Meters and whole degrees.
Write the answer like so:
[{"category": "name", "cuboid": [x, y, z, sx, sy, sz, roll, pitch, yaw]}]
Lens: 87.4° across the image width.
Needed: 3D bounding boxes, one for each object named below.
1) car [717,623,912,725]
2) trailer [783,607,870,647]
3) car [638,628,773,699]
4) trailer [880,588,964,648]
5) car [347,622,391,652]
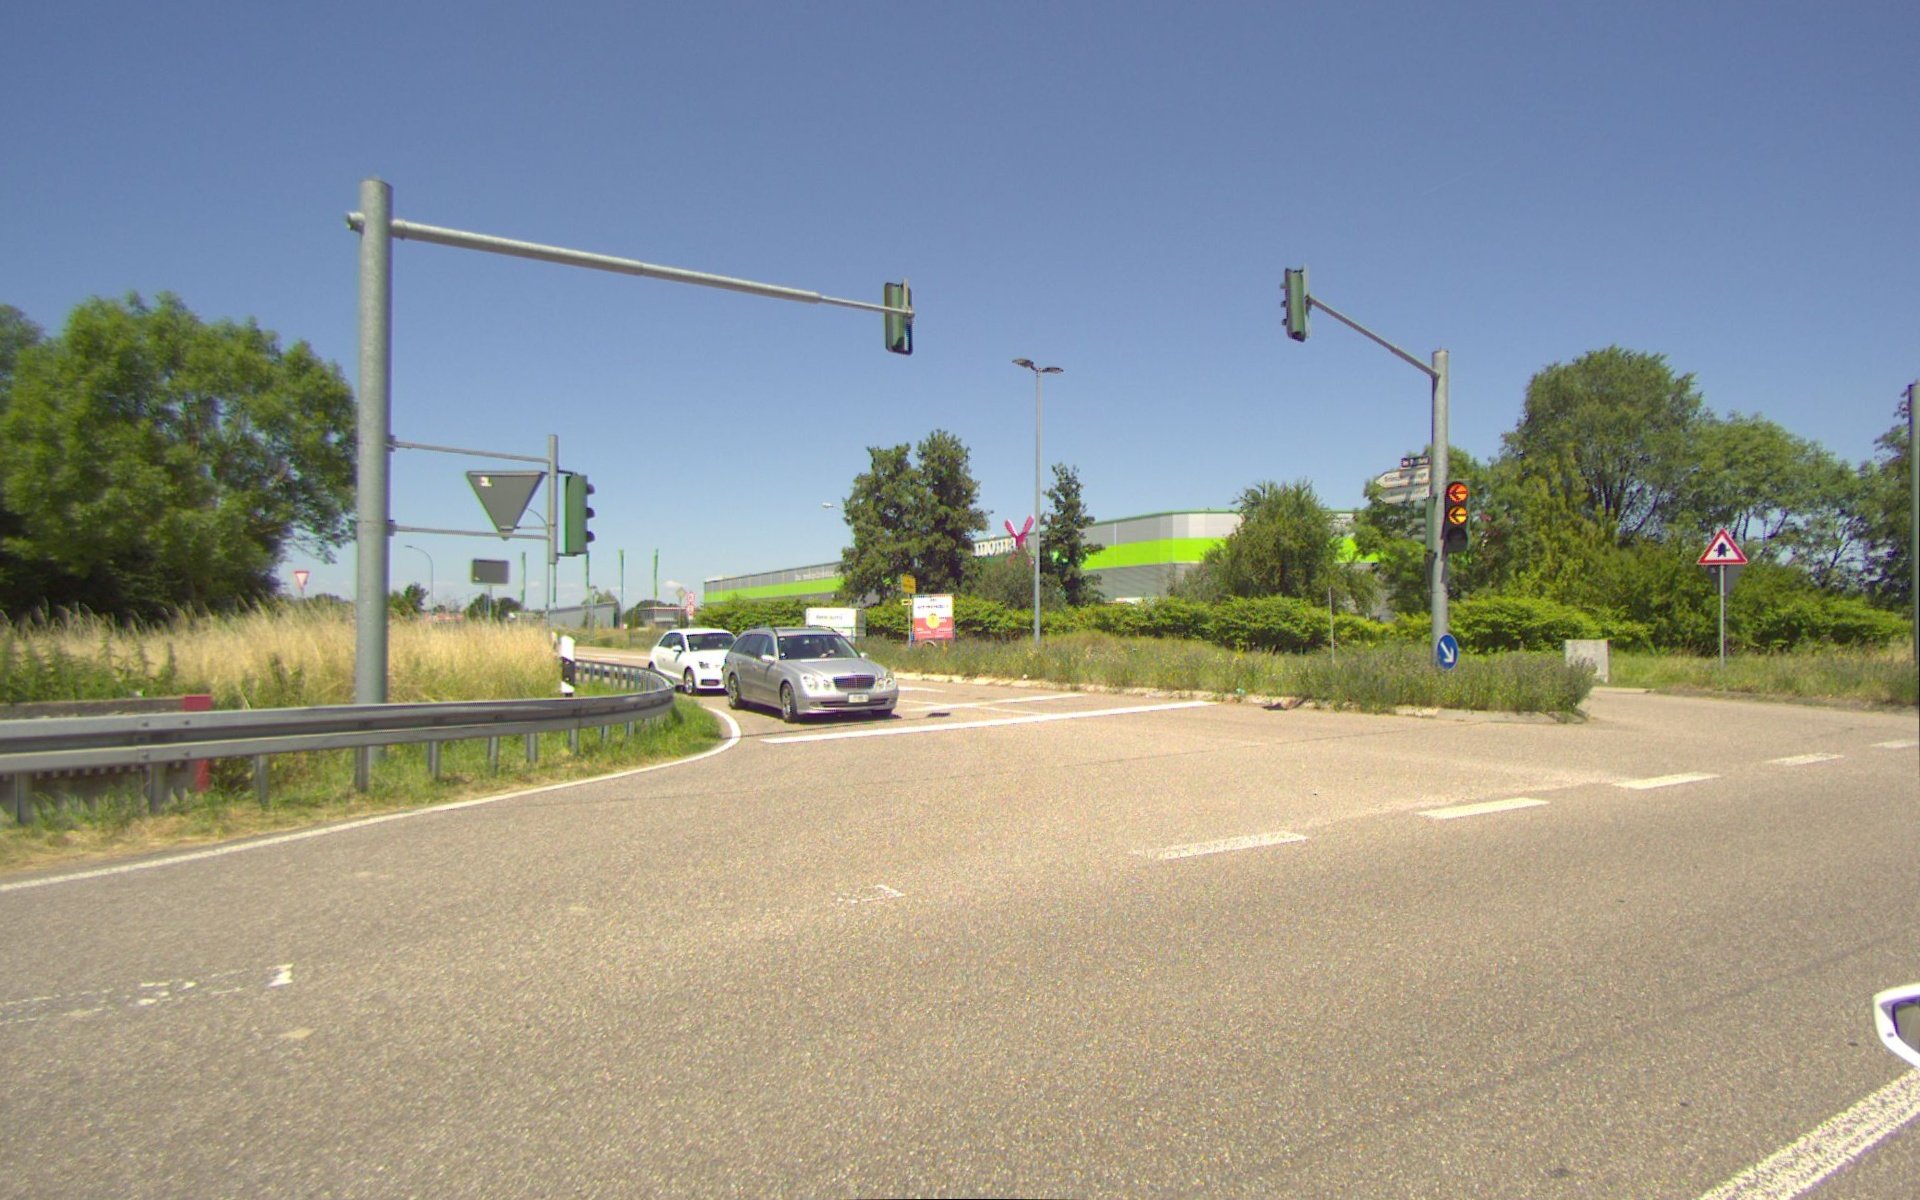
[{"category": "car", "cuboid": [-2.704, 1.162, 17.515, 1.854, 1.476, 4.935, 1, -1, -27]}, {"category": "trailer", "cuboid": [-6.393, 1.283, 48.198, 3.682, 1.815, 1.828, 0, -1, 15]}, {"category": "car", "cuboid": [-5.966, 1.392, 23.247, 1.754, 1.417, 3.924, 0, -1, -36]}, {"category": "trailer", "cuboid": [-1.816, 0.876, 48.623, 3.682, 2.801, 1.828, 0, -1, 14]}, {"category": "car", "cuboid": [-34.813, 2.129, 59.155, 1.755, 1.646, 4.189, 0, -1, -38]}]
